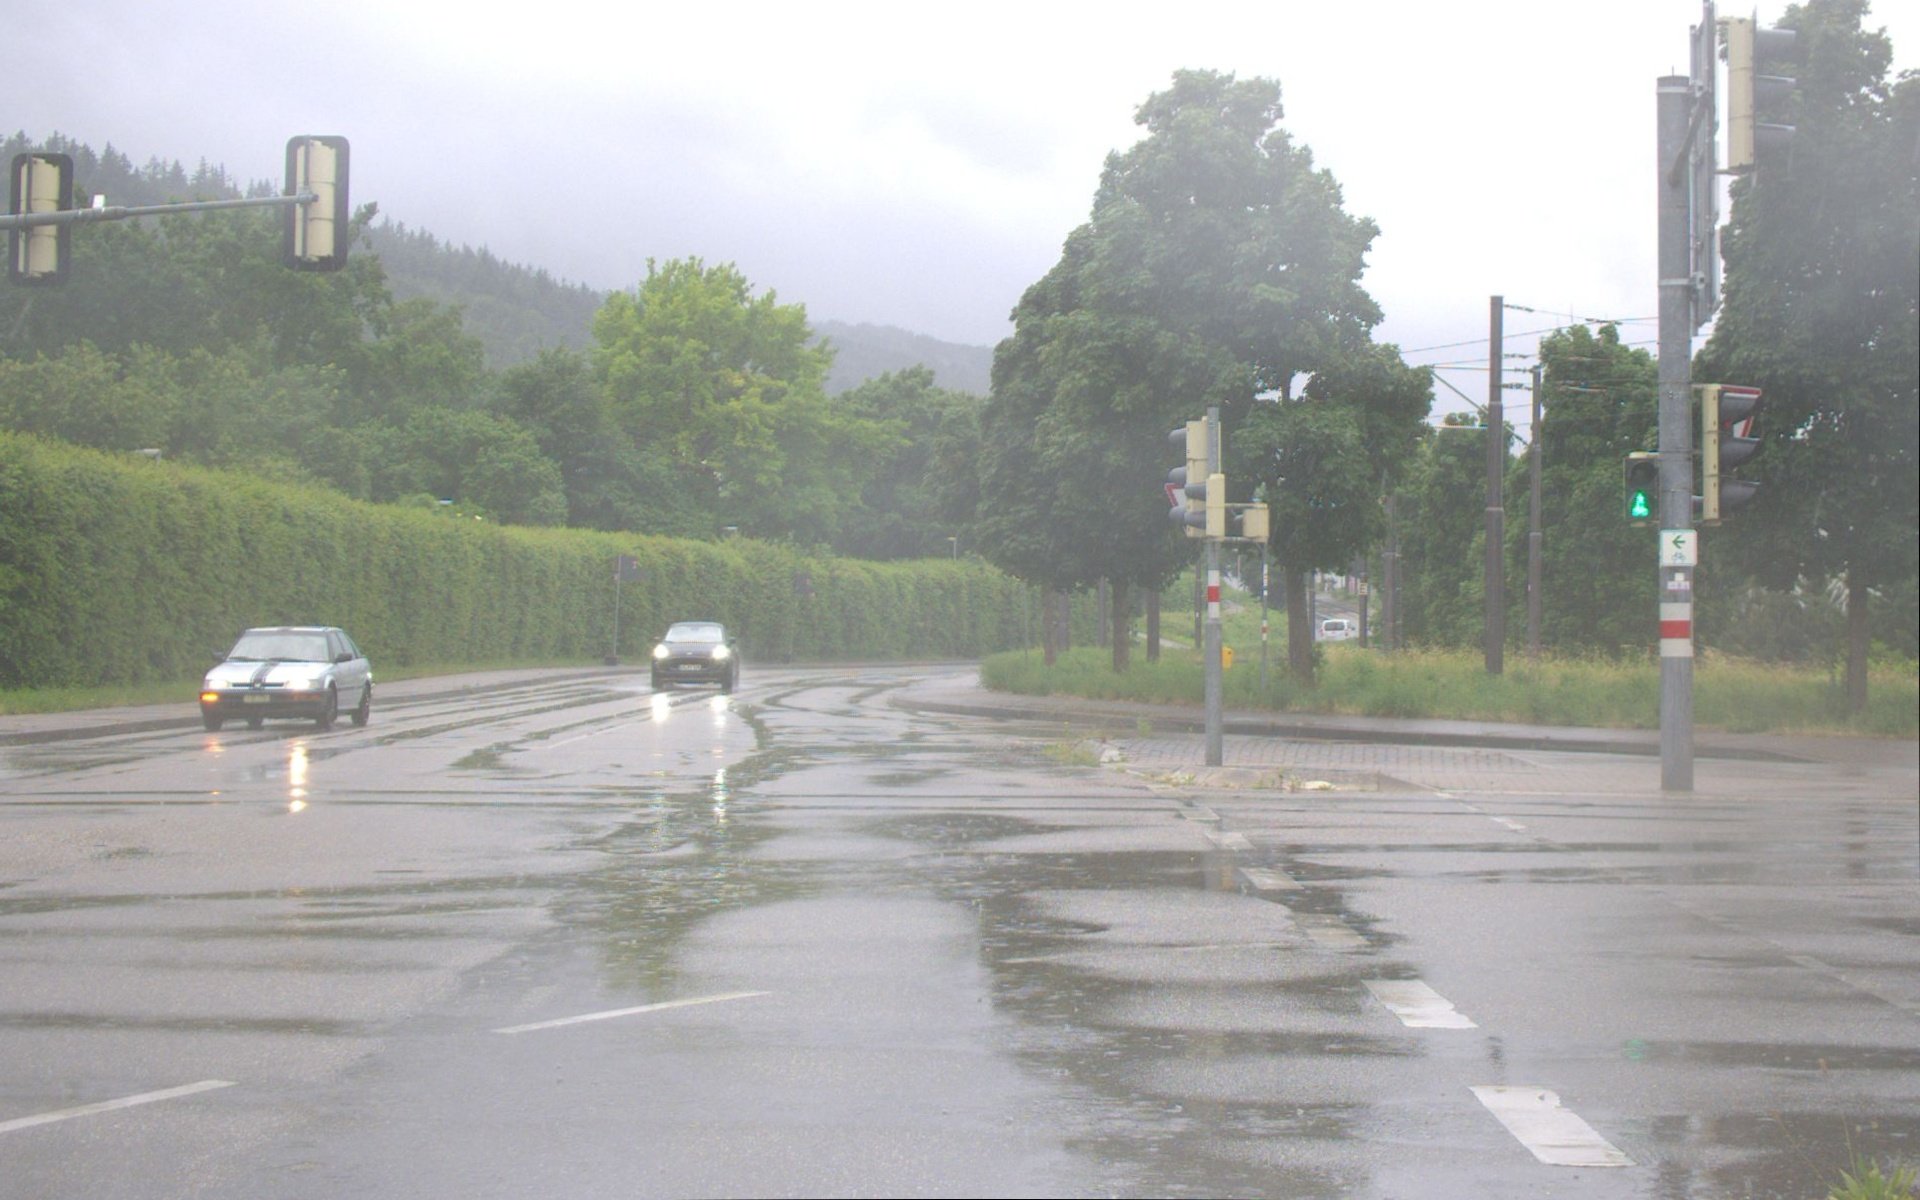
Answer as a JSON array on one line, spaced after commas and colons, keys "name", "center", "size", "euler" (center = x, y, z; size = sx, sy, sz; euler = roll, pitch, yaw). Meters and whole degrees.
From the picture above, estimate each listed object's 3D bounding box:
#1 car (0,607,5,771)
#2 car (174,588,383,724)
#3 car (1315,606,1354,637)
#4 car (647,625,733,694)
[{"name": "car", "center": [-9.365, 0.788, 28.520], "size": [1.708, 1.461, 4.453], "euler": [0, 0, -1]}, {"name": "car", "center": [-9.126, 0.711, 46.332], "size": [2.036, 1.702, 4.066], "euler": [1, 1, -1]}, {"name": "car", "center": [23.924, 1.356, 219.569], "size": [1.954, 1.897, 4.117], "euler": [0, 0, 13]}, {"name": "car", "center": [-6.102, 1.338, 78.025], "size": [1.784, 1.500, 4.061], "euler": [0, 0, -2]}]
